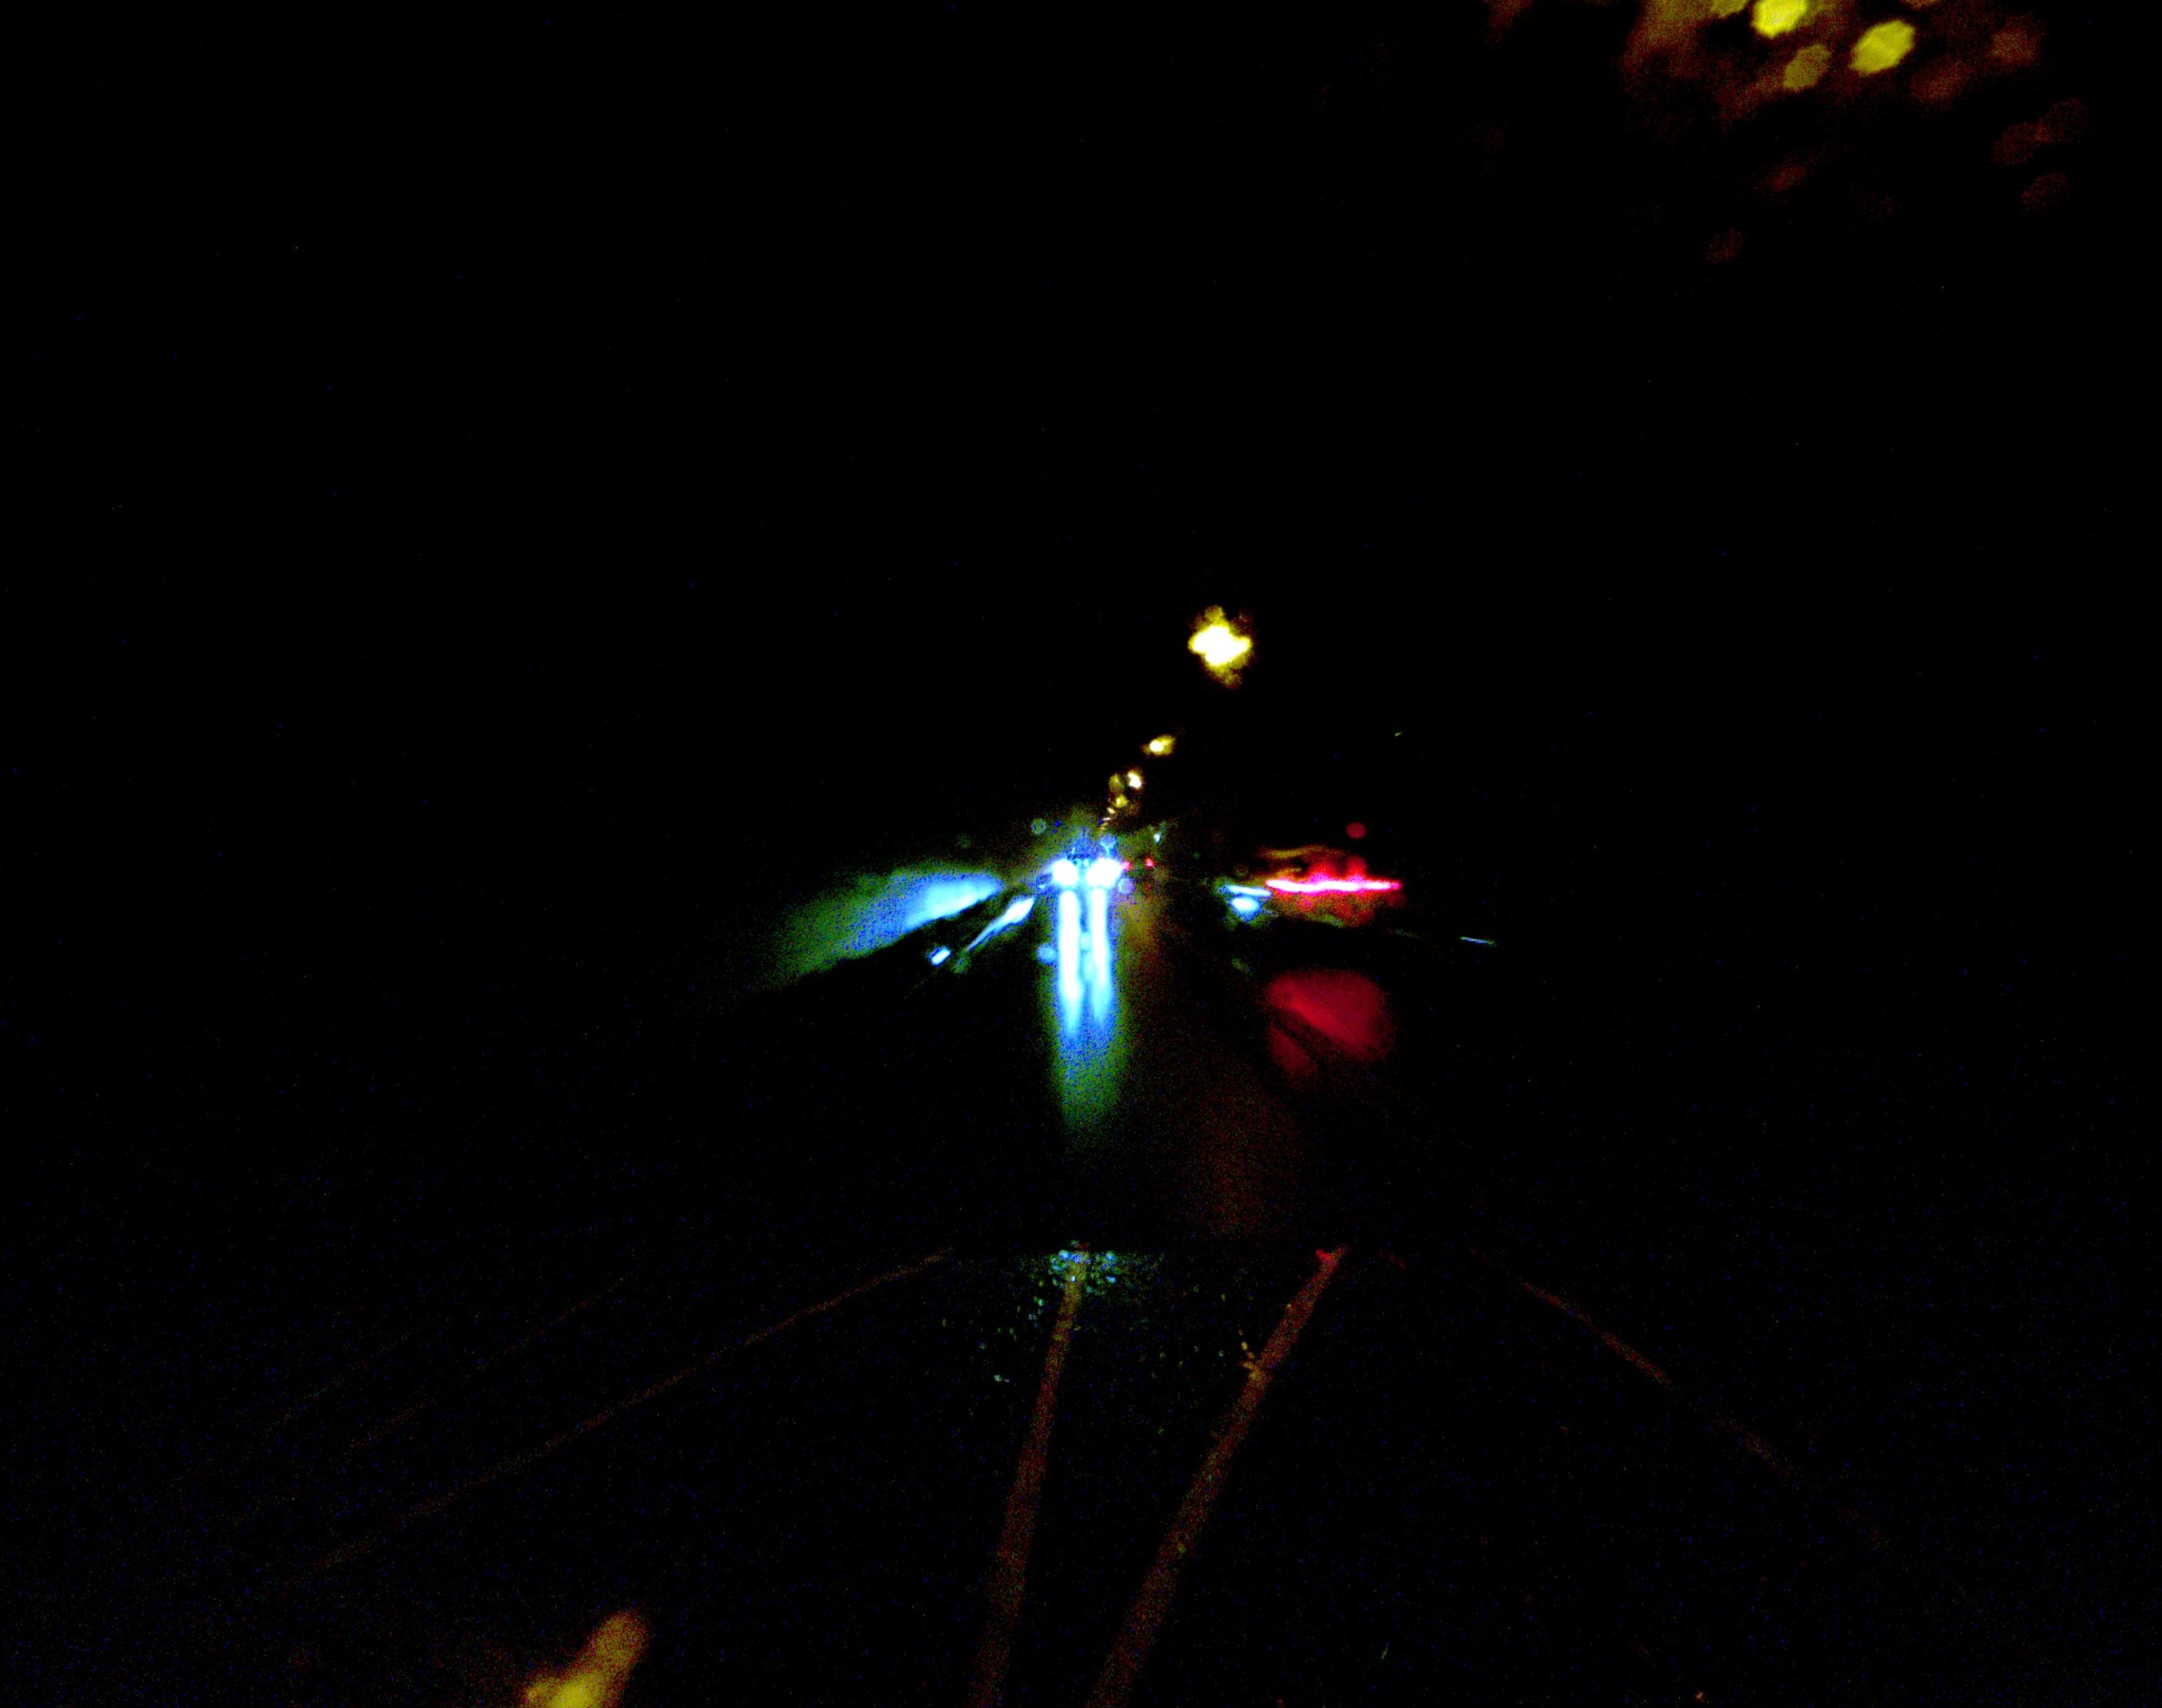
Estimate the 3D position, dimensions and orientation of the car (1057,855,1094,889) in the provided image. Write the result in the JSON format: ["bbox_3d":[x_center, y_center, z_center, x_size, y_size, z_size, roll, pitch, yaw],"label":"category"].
[{"bbox_3d":[-0.220,0.813,36.319,1.627,1.487,3.585,-2,0,1],"label":"car"}]

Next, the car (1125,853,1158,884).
[{"bbox_3d":[3.999,0.920,51.011,1.785,1.917,5.138,-2,0,1],"label":"car"}]

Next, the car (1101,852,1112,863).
[{"bbox_3d":[4.143,0.582,122.749,1.627,1.603,3.584,-2,0,1],"label":"car"}]

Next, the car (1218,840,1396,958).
[{"bbox_3d":[3.738,0.655,13.446,1.785,1.666,4.561,-2,0,1],"label":"car"}]

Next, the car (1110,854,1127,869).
[{"bbox_3d":[4.257,0.857,86.406,1.639,1.618,4.145,-2,0,1],"label":"car"}]
